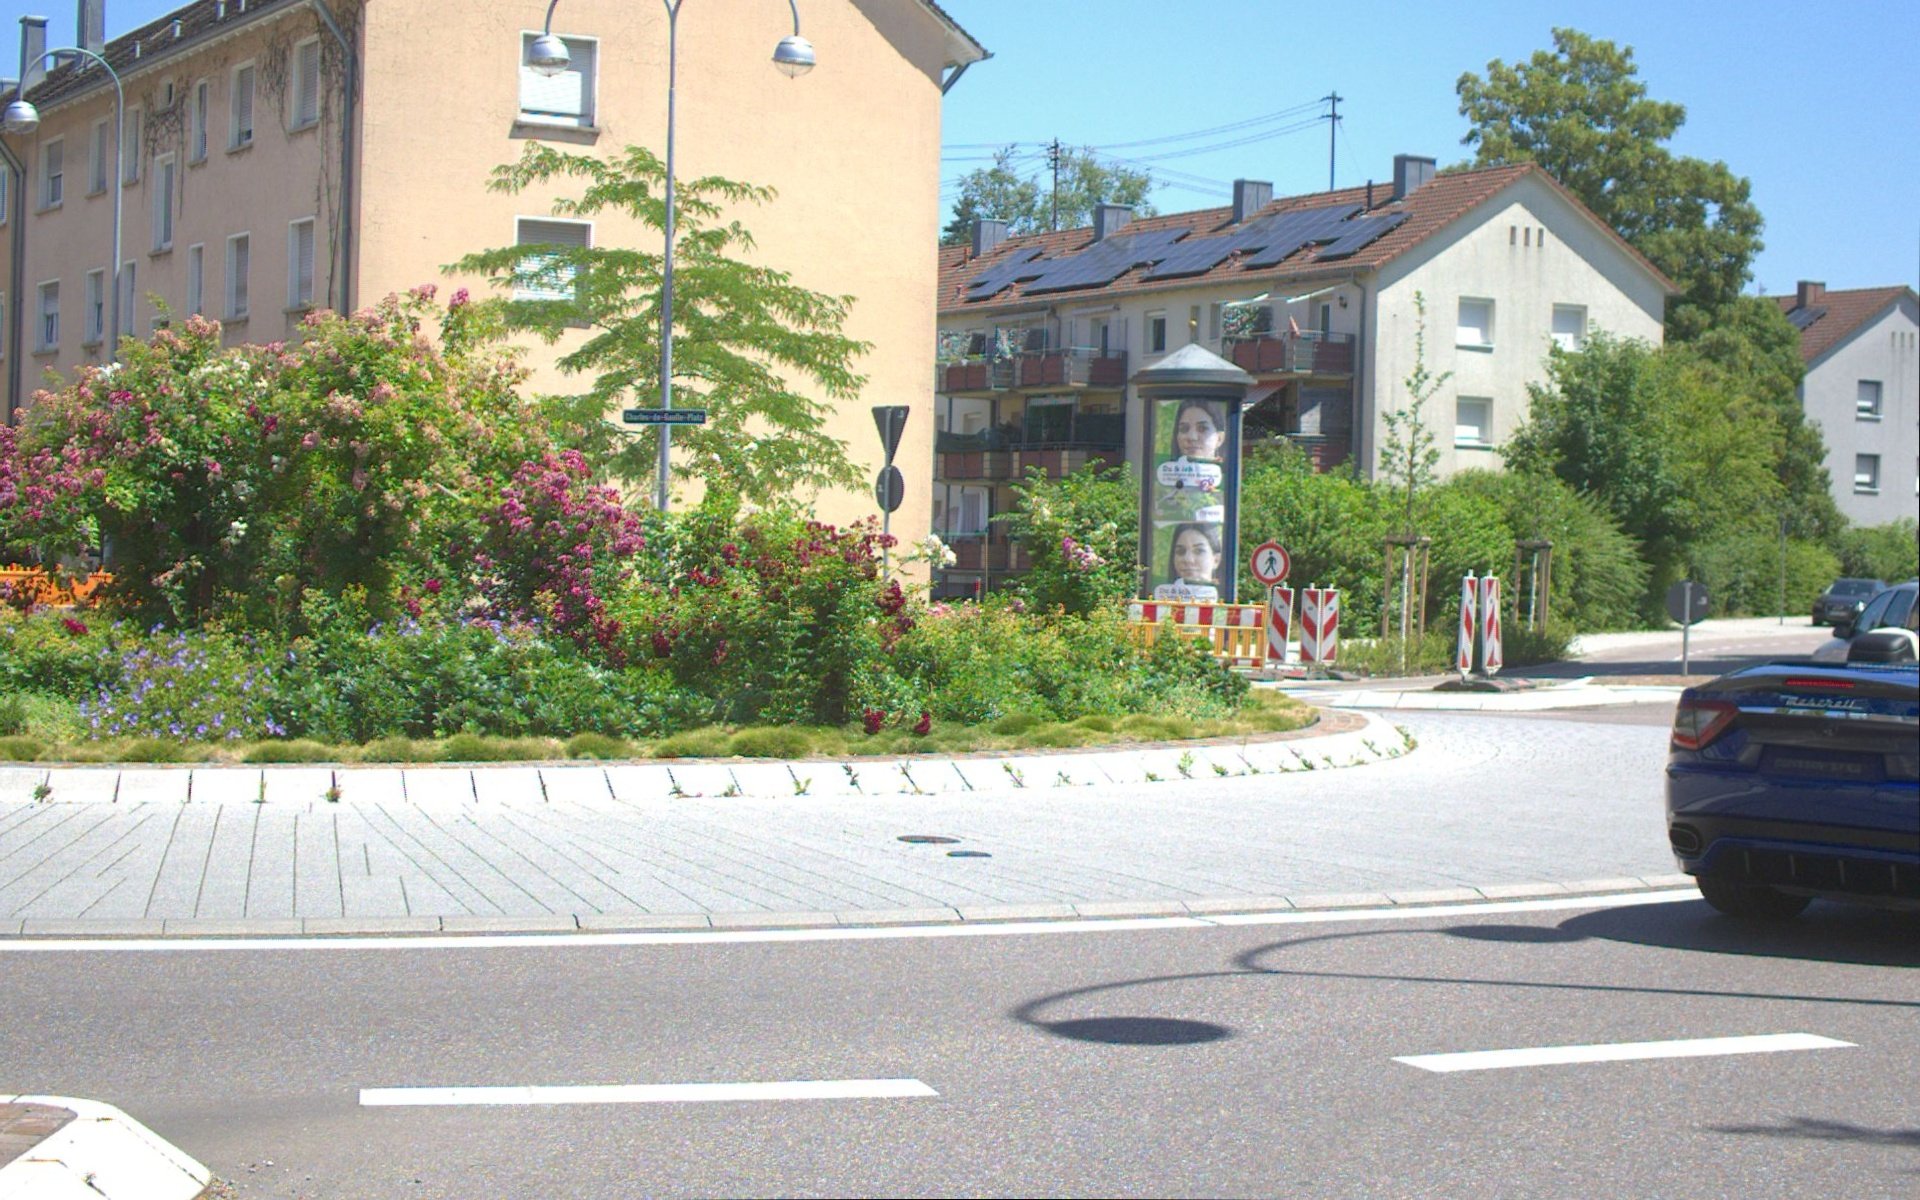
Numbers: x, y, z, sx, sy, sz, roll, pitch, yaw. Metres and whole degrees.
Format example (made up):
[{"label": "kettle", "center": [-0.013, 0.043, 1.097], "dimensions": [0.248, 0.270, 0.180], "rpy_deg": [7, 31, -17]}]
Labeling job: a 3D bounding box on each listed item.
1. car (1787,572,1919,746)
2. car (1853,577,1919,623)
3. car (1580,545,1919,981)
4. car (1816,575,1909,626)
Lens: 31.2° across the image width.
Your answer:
[{"label": "car", "center": [8.654, 0.475, 30.390], "dimensions": [1.738, 1.431, 3.711], "rpy_deg": [0, 1, -1]}, {"label": "car", "center": [30.069, -0.014, 110.541], "dimensions": [1.741, 1.431, 3.704], "rpy_deg": [0, 1, 29]}, {"label": "car", "center": [4.569, 0.676, 14.098], "dimensions": [1.875, 1.525, 4.495], "rpy_deg": [2, -2, 41]}, {"label": "car", "center": [25.929, -0.006, 98.733], "dimensions": [1.741, 1.431, 3.704], "rpy_deg": [0, 1, 29]}]
